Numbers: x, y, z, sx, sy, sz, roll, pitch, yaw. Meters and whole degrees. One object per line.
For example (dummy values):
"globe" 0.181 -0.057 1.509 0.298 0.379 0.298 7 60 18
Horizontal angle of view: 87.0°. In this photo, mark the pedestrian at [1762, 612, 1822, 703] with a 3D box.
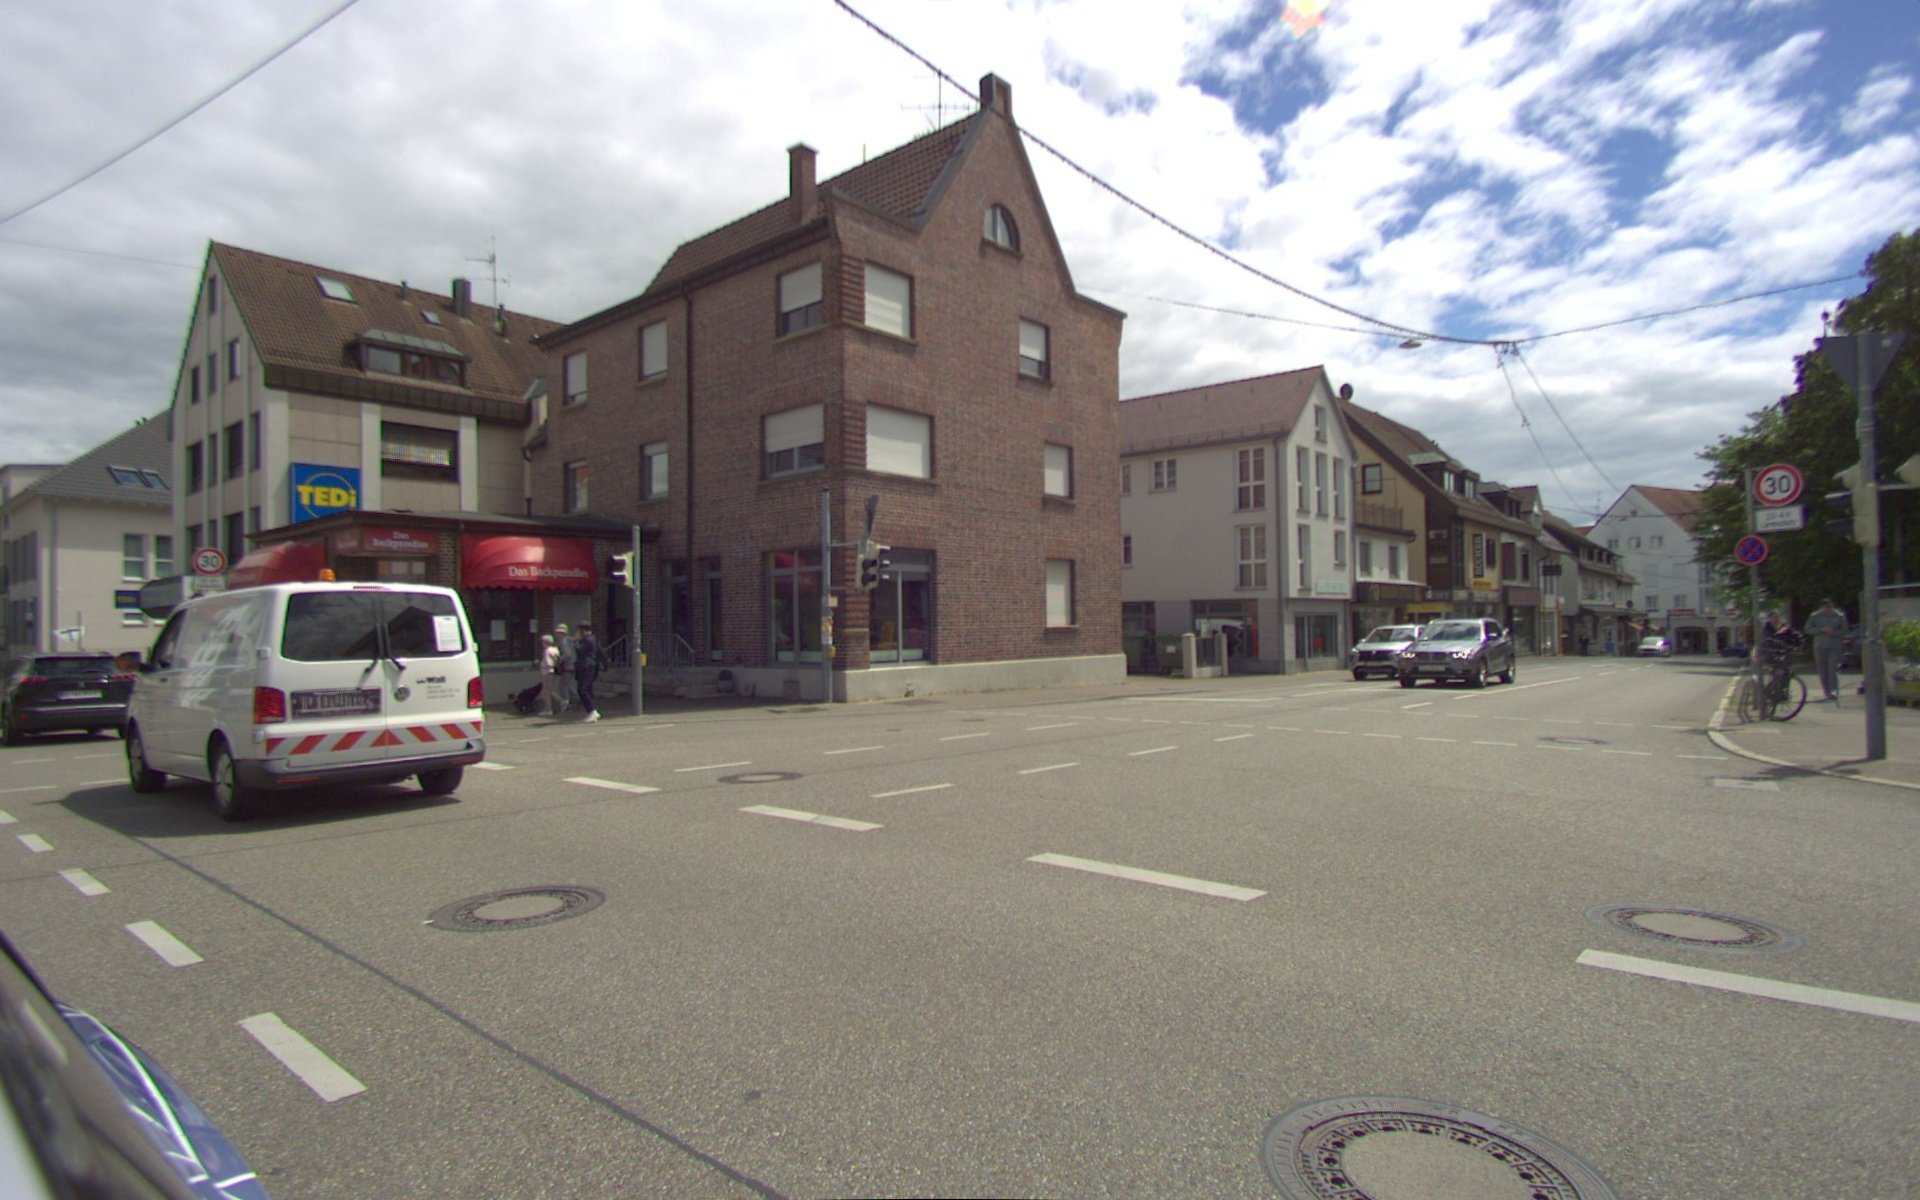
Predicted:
"pedestrian" 15.022 1.037 18.293 0.675 1.589 0.726 -3 -4 33

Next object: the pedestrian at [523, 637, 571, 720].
"pedestrian" -7.780 1.465 19.070 0.760 1.496 0.519 -1 -1 38

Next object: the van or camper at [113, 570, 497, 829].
"van or camper" -6.459 0.862 9.726 4.689 1.912 1.845 -4 -3 41

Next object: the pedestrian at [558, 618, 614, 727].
"pedestrian" -6.421 1.218 17.391 0.719 1.810 0.619 -1 -1 38

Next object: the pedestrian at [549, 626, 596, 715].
"pedestrian" -7.480 1.346 19.533 0.760 1.671 0.519 -1 -1 38

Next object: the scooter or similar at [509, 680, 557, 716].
"scooter or similar" -8.269 1.892 19.599 0.803 0.651 0.377 -1 -3 18

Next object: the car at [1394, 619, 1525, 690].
"car" 12.324 1.313 24.863 1.920 1.586 3.946 -3 -4 40

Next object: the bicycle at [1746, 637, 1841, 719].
"bicycle" 12.414 1.145 15.132 0.773 1.150 1.868 -2 -4 30

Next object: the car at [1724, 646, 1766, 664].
"car" 69.095 4.836 89.077 1.470 1.490 3.190 -1 -3 8

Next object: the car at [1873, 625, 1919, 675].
"car" 26.577 1.288 26.494 1.756 1.331 3.731 1 -4 -40

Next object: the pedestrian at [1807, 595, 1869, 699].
"pedestrian" 16.008 0.865 18.472 0.675 1.850 0.726 -3 -4 33

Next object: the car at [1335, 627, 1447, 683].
"car" 13.272 1.670 31.019 1.920 1.586 4.270 -3 -4 40

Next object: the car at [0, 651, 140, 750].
"car" -15.949 1.681 17.808 3.964 1.508 1.665 -3 -3 41

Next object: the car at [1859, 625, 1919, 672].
"car" 27.937 1.344 28.444 1.756 1.332 3.731 1 -4 -40

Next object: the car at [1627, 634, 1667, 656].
"car" 50.691 3.325 74.610 1.920 1.586 4.270 -3 -4 40
